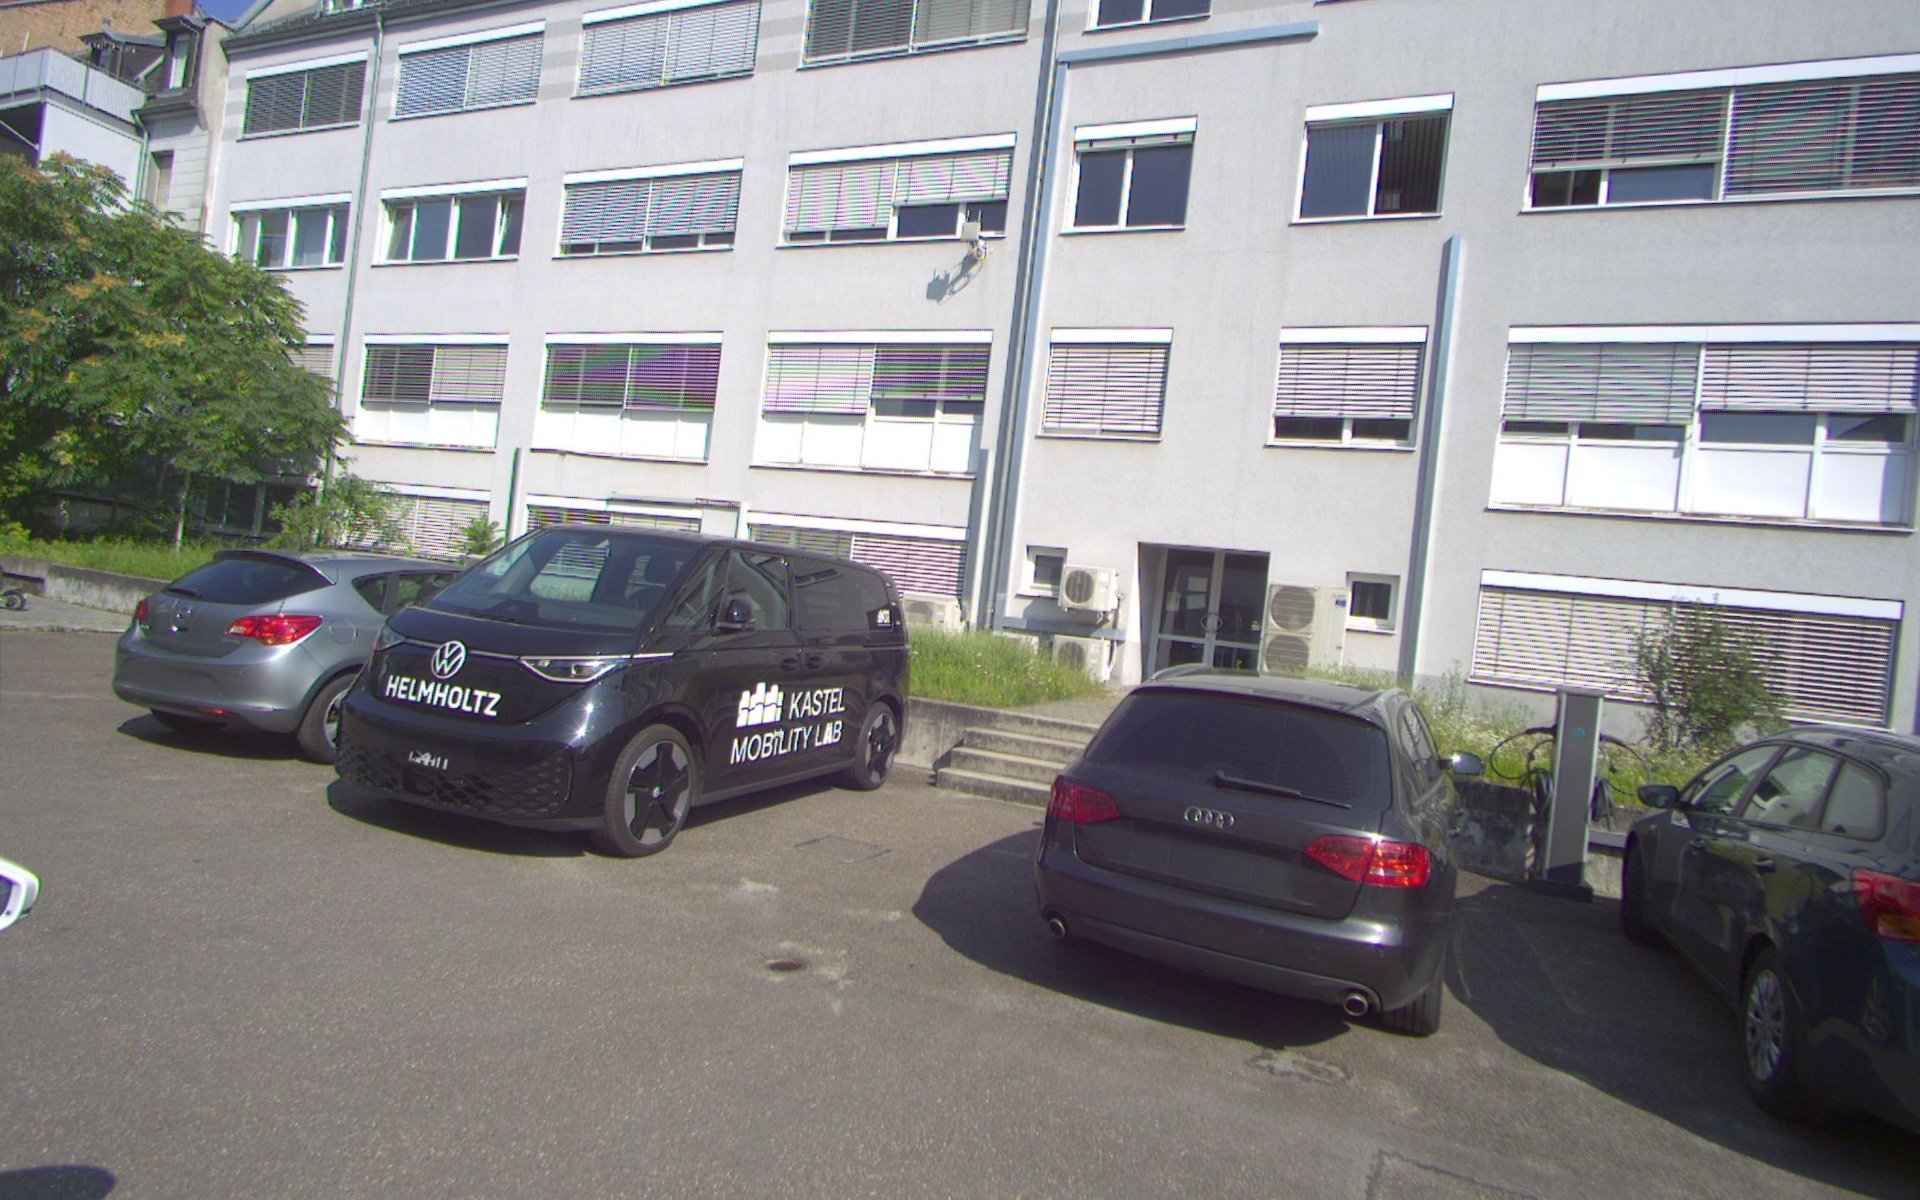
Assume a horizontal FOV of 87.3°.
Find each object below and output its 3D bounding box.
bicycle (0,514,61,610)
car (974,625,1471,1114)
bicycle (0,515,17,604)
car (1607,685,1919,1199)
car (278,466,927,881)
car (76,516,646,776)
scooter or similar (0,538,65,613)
[{"bbox_3d":[-13.724,-0.622,13.443,0.517,1.261,2.417,7,-2,29],"label":"bicycle"},{"bbox_3d":[1.837,1.065,5.632,1.661,1.455,4.242,7,-1,28],"label":"car"},{"bbox_3d":[-14.424,-0.703,13.525,0.517,1.261,2.417,7,-2,29],"label":"bicycle"},{"bbox_3d":[4.366,1.263,4.533,1.711,1.495,4.058,7,-1,25],"label":"car"},{"bbox_3d":[-2.001,0.437,7.187,1.879,1.881,4.350,7,-1,20],"label":"car"},{"bbox_3d":[-4.526,0.366,8.383,1.631,1.483,3.911,7,-1,16],"label":"car"},{"bbox_3d":[-12.981,-0.348,13.757,0.982,0.935,0.360,7,-1,-9],"label":"scooter or similar"}]
